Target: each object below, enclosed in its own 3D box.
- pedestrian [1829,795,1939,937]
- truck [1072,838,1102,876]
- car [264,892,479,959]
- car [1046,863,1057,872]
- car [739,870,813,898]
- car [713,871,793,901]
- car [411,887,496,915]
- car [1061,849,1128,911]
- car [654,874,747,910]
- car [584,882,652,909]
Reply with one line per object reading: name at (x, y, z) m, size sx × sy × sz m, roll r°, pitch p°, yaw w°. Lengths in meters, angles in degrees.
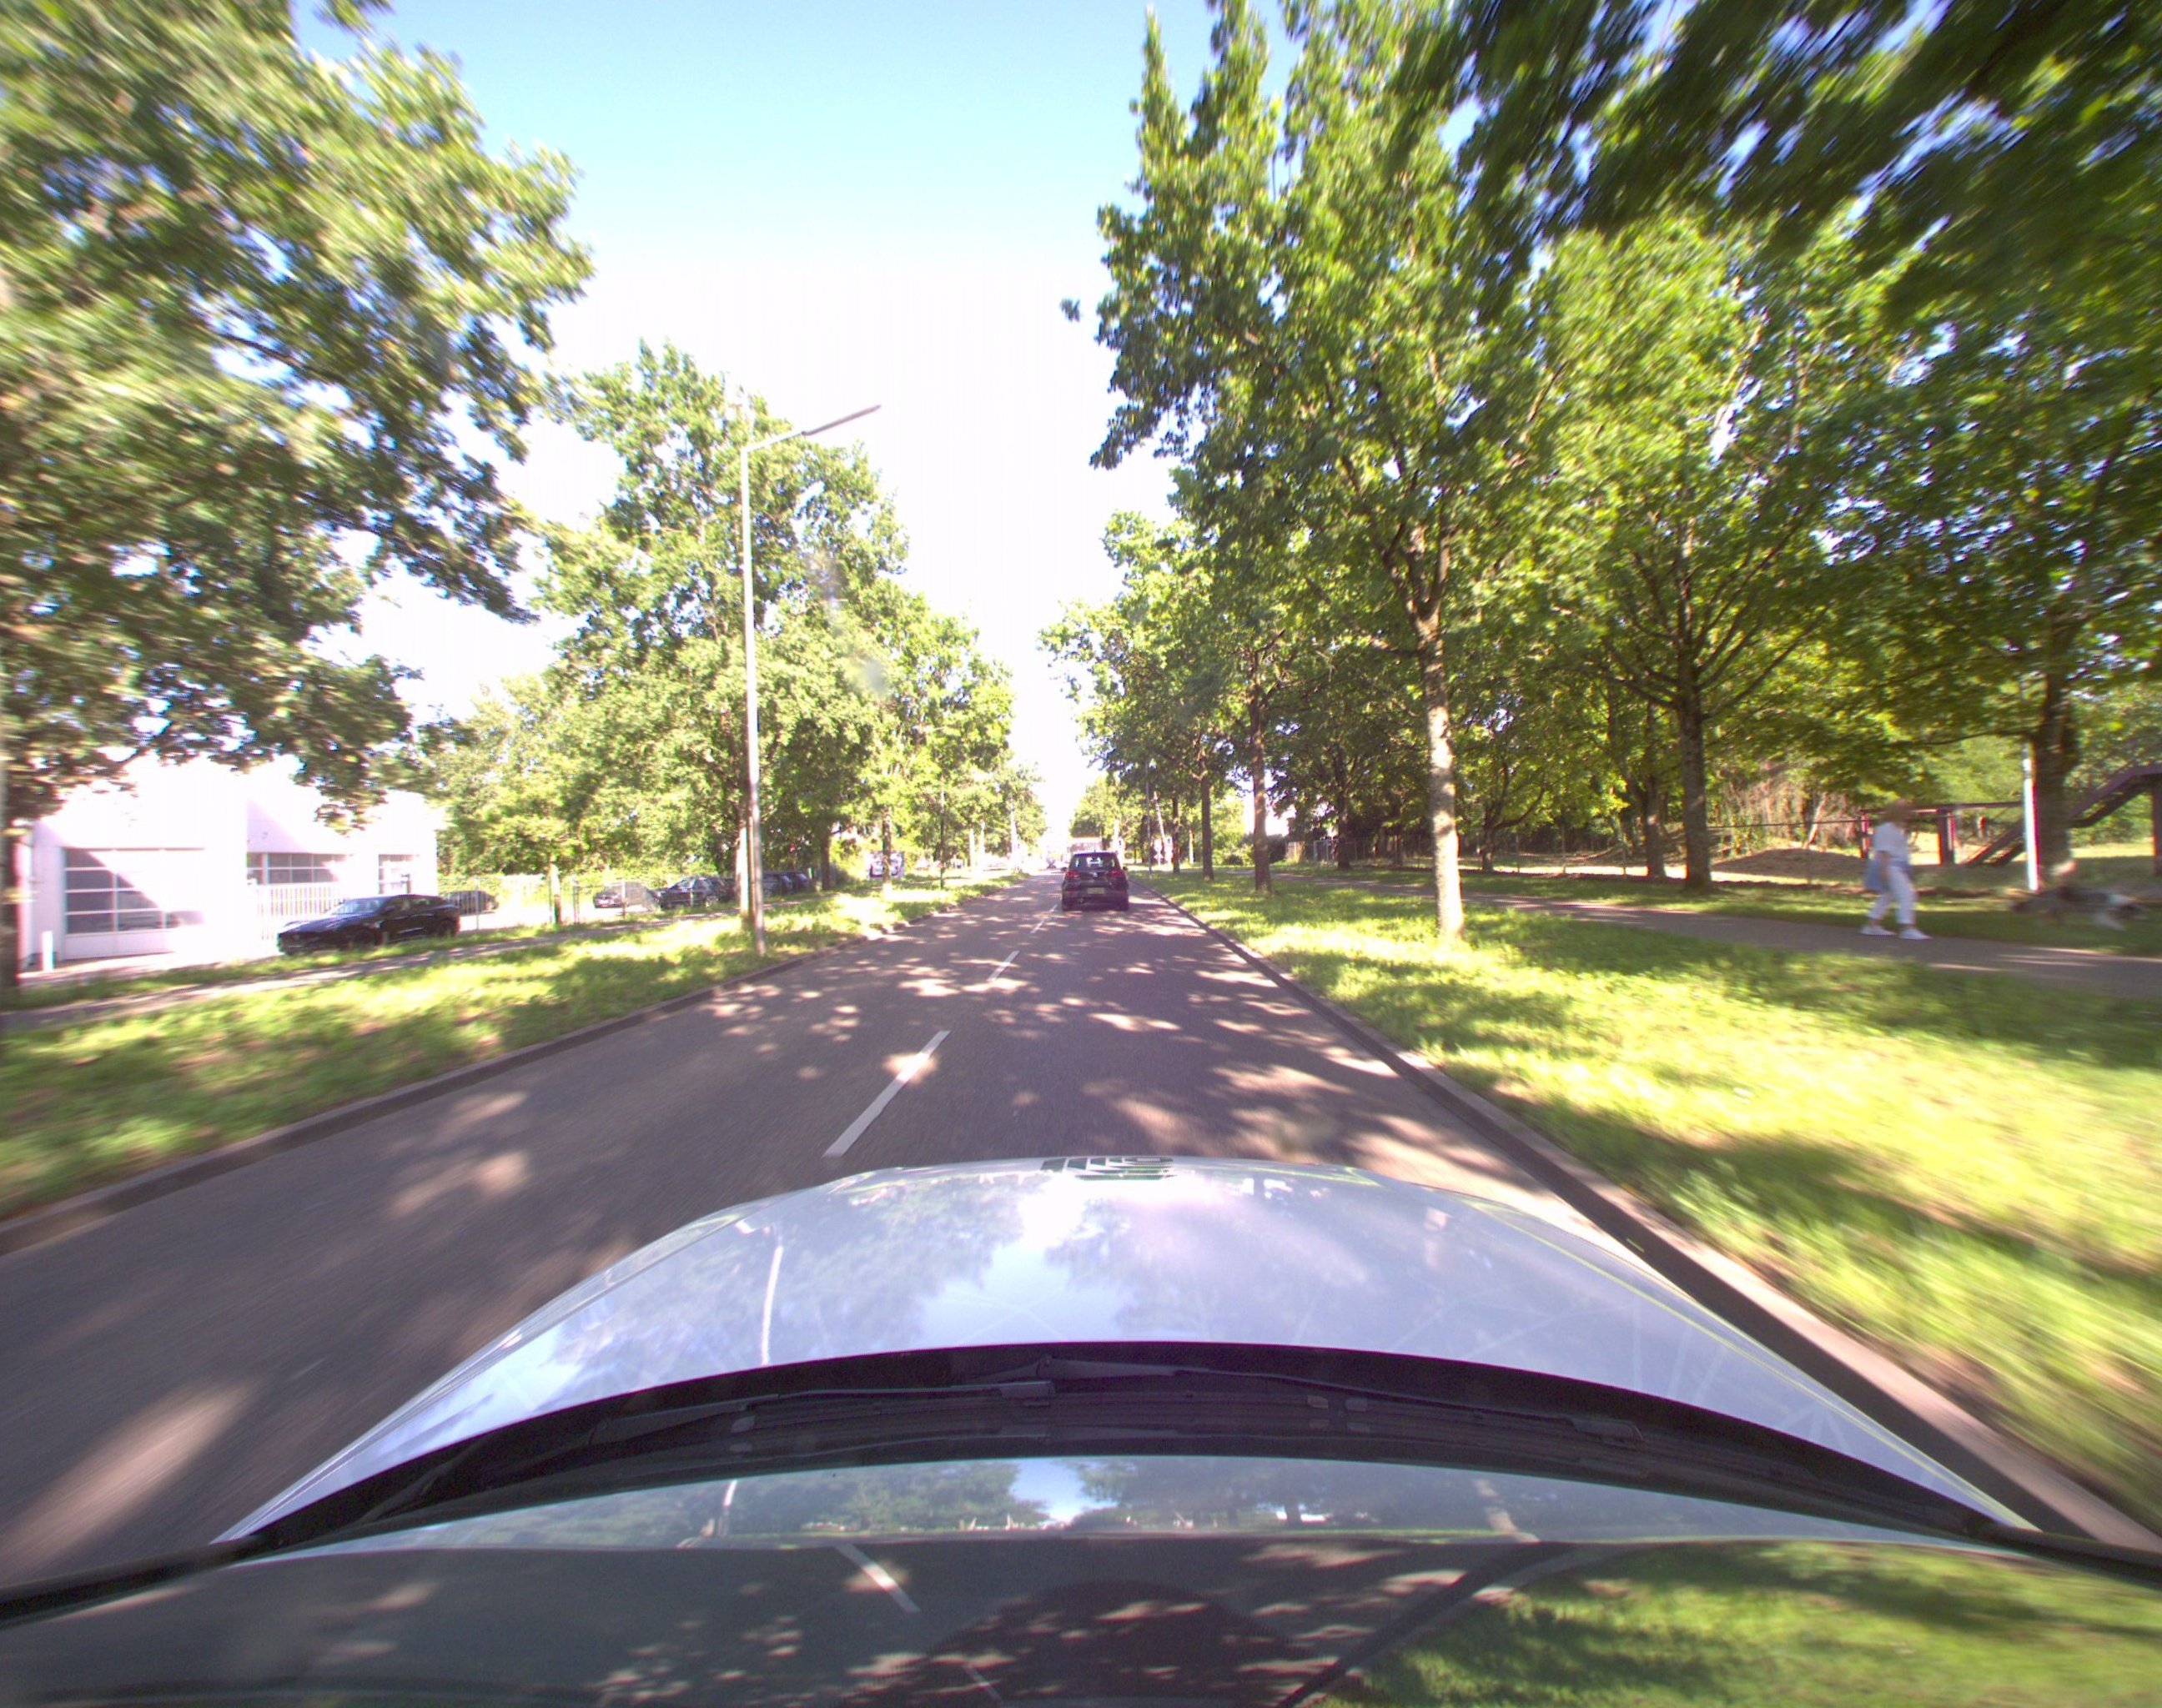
pedestrian at (9.754, 0.137, 9.905) m, size 0.611 × 1.631 × 0.713 m, roll -4°, pitch 0°, yaw -25°
truck at (0.509, 0.271, 74.578) m, size 2.504 × 3.243 × 8.151 m, roll -2°, pitch 0°, yaw 0°
car at (-21.010, 2.036, 24.494) m, size 1.986 × 1.598 × 5.015 m, roll 0°, pitch 0°, yaw 1°
car at (-5.150, 2.320, 143.710) m, size 1.559 × 1.504 × 4.002 m, roll 0°, pitch 0°, yaw 2°
car at (-20.132, 1.964, 53.870) m, size 4.181 × 1.801 × 1.997 m, roll 0°, pitch 0°, yaw -4°
car at (-20.478, 1.970, 51.018) m, size 4.181 × 1.801 × 1.997 m, roll 0°, pitch 0°, yaw -4°
car at (-40.659, 2.991, 52.952) m, size 1.990 × 1.566 × 4.877 m, roll 0°, pitch 0°, yaw -5°
car at (0.377, 0.691, 23.536) m, size 1.776 × 1.633 × 4.000 m, roll 0°, pitch 0°, yaw 0°
car at (-20.137, 2.004, 43.239) m, size 3.981 × 1.801 × 1.996 m, roll 0°, pitch -1°, yaw -6°
car at (-30.667, 2.729, 54.117) m, size 1.990 × 1.566 × 4.877 m, roll 0°, pitch 0°, yaw -5°
